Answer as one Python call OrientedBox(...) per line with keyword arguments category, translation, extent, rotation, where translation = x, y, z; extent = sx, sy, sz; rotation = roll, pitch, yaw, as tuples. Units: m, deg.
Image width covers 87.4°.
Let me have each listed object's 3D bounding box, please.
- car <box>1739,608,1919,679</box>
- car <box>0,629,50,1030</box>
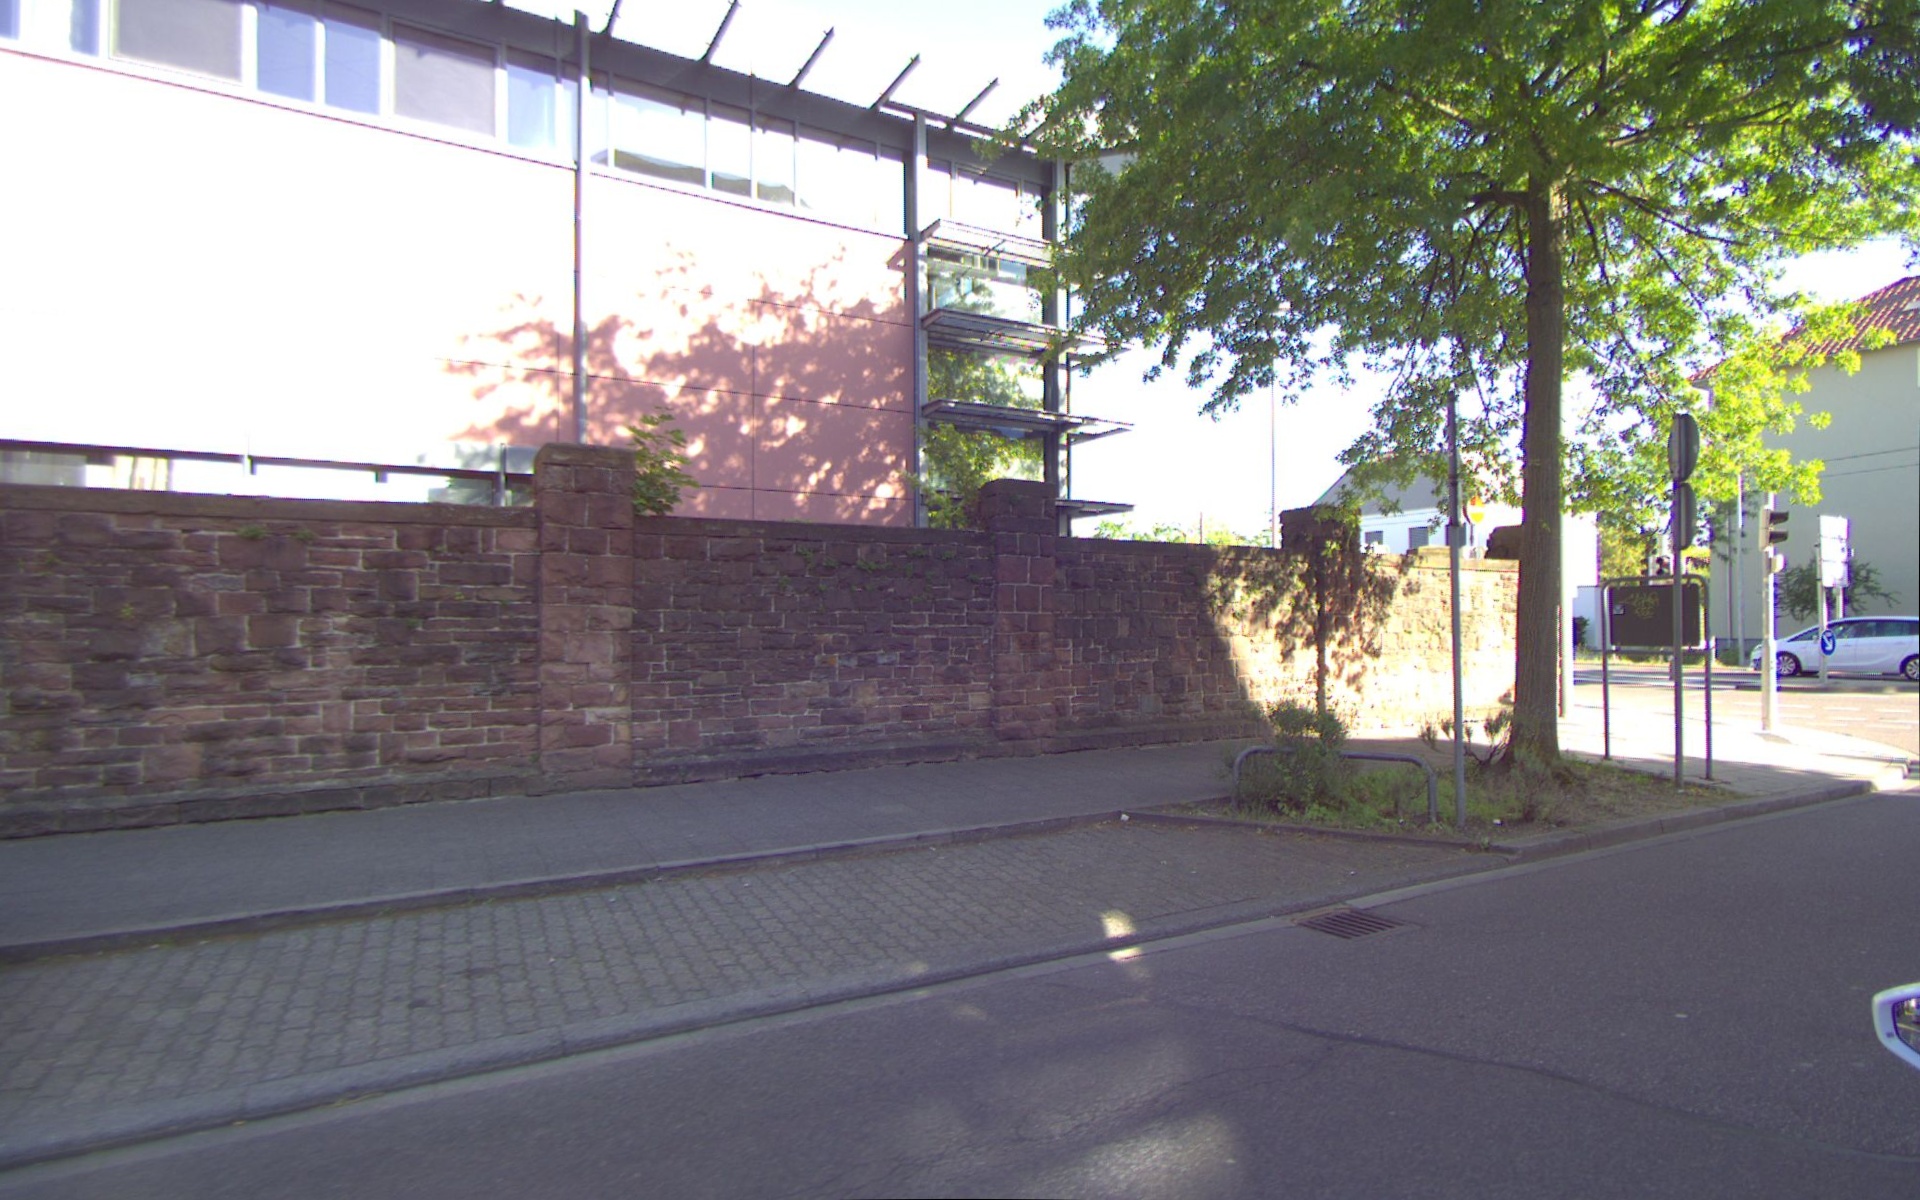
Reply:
OrientedBox(category="car", translation=(23.844, 1.116, 26.648), extent=(1.979, 1.762, 4.635), rotation=(1, -1, -33))
OrientedBox(category="car", translation=(-5.406, 0.858, 2.447), extent=(4.425, 1.495, 1.718), rotation=(1, 0, -30))
